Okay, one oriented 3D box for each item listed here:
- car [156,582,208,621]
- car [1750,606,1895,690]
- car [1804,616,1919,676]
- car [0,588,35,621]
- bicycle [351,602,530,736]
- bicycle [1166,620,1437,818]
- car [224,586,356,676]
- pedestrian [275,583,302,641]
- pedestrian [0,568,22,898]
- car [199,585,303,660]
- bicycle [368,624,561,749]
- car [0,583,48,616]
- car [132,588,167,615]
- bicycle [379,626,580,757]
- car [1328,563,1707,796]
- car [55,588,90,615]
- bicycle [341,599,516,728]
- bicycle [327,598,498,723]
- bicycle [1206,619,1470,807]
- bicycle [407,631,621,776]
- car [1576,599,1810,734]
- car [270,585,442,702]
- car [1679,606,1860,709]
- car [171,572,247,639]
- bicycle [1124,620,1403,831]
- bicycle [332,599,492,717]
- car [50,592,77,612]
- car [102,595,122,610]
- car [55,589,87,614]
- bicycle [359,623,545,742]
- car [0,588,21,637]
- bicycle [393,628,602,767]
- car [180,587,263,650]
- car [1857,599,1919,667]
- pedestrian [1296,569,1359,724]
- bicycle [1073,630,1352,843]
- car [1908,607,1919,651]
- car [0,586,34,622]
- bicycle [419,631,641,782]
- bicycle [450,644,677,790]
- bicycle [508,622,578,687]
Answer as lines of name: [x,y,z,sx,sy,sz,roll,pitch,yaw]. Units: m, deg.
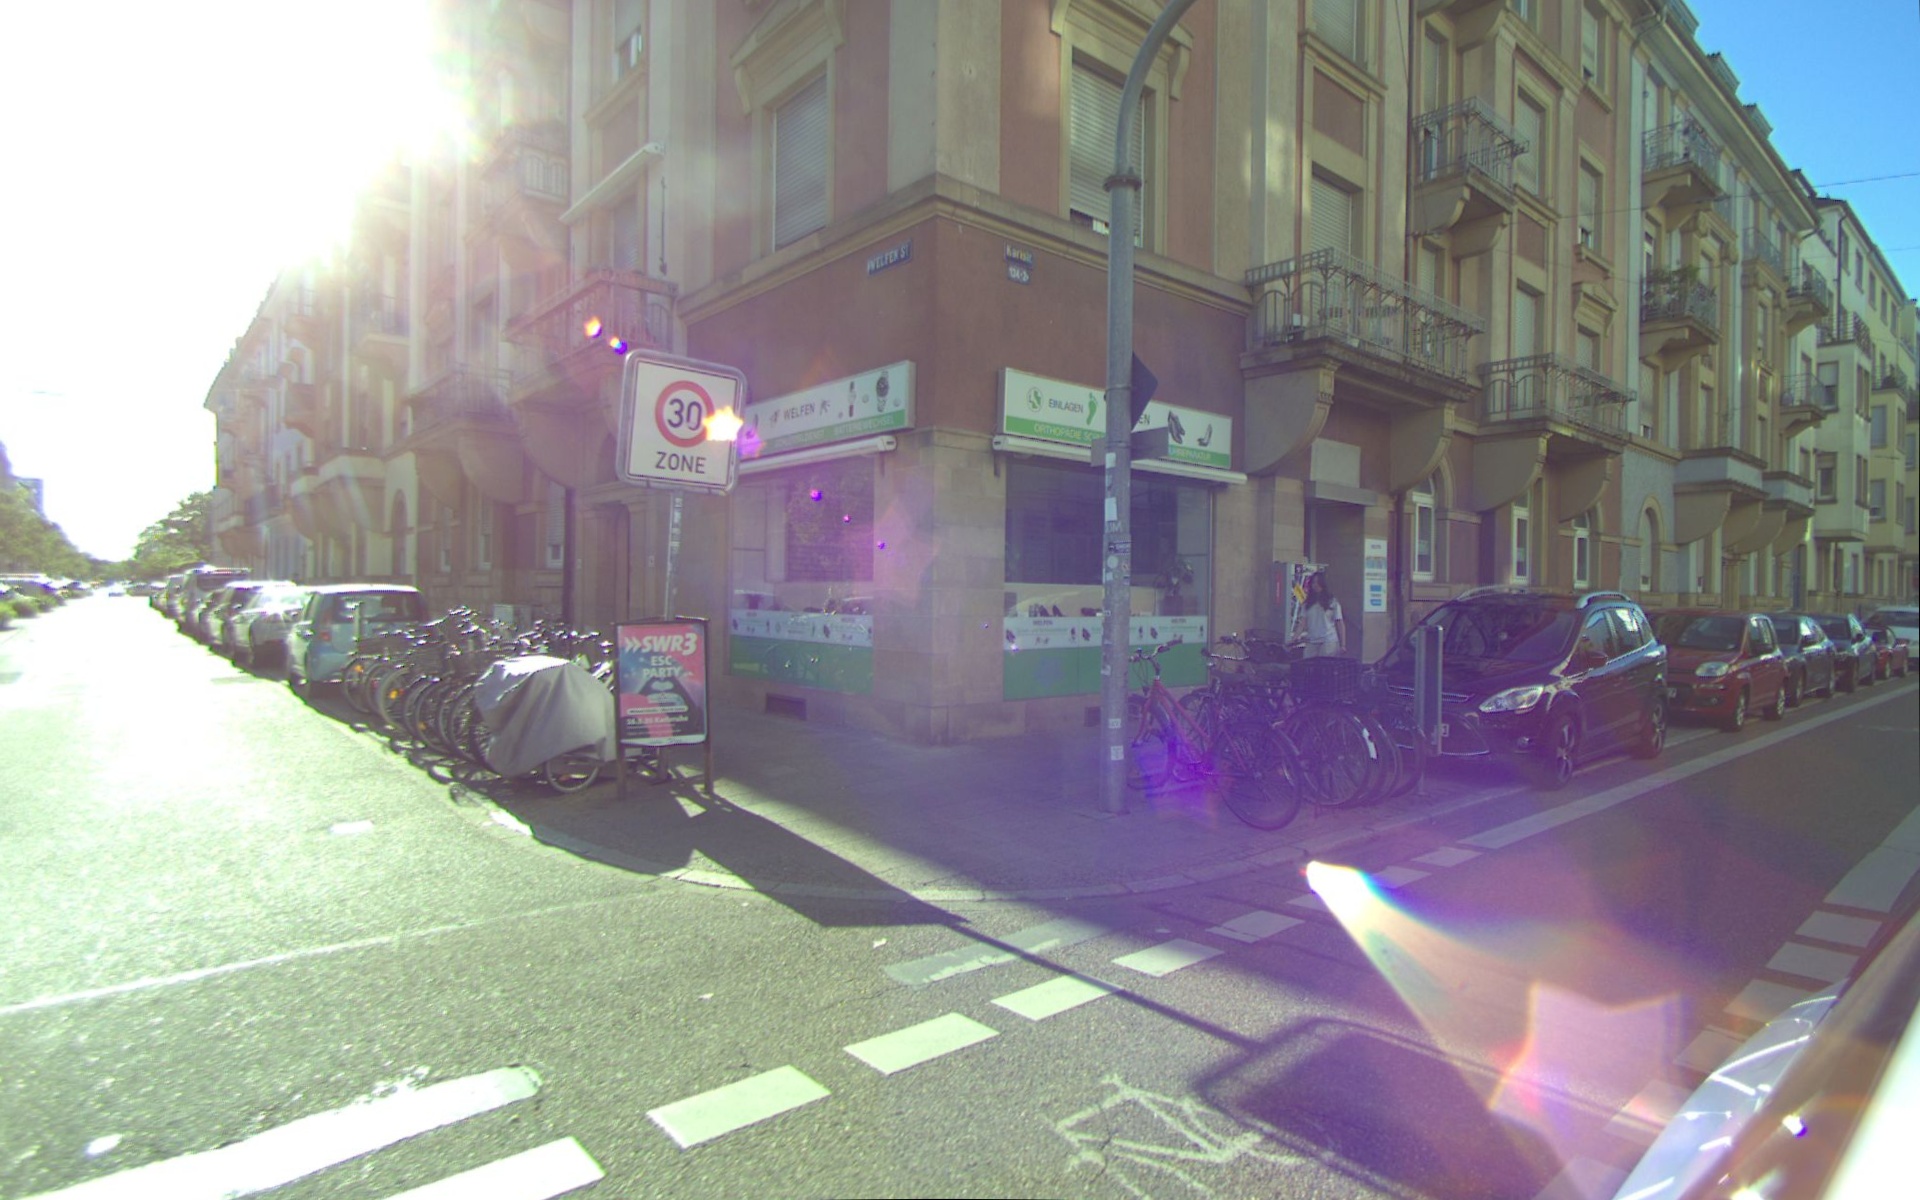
car: [-38.417,0.063,49.934,1.781,1.849,3.994,1,0,-41]
car: [17.495,0.886,20.455,4.397,1.502,1.657,1,0,-42]
car: [21.622,1.026,23.970,4.422,1.265,1.658,1,0,-38]
car: [-47.360,0.201,48.656,1.750,1.624,3.951,0,0,34]
bicycle: [-5.774,0.727,11.312,1.698,1.400,0.491,1,-1,-41]
bicycle: [2.521,0.815,7.709,0.517,1.242,1.963,1,1,-39]
car: [-13.225,0.537,19.885,1.666,1.571,4.064,1,0,-41]
pedestrian: [-21.466,0.372,32.338,0.598,1.820,0.730,1,-1,-41]
pedestrian: [-5.095,0.670,4.850,0.689,1.654,0.732,-1,-1,-27]
car: [-17.155,0.496,24.423,1.666,1.653,3.994,1,0,-41]
bicycle: [-5.073,0.845,10.428,1.698,1.169,0.544,1,-1,-41]
car: [-54.693,-0.031,57.473,1.746,1.870,3.960,0,0,28]
car: [-56.750,0.119,70.815,1.781,1.849,3.994,1,0,-41]
bicycle: [-4.709,0.855,9.989,1.698,1.169,0.544,1,-1,-41]
car: [5.646,0.613,10.001,4.426,1.757,1.757,1,3,-40]
car: [-62.895,0.098,71.768,1.781,1.849,3.994,1,0,-41]
bicycle: [-6.137,0.696,11.745,1.698,1.400,0.544,1,-1,-41]
bicycle: [-6.564,0.690,12.182,1.698,1.400,0.628,1,-1,-41]
bicycle: [2.942,0.816,8.082,0.517,1.242,1.963,1,1,-39]
bicycle: [-3.992,0.882,9.145,1.698,1.169,0.468,1,-1,-41]
car: [10.175,0.807,13.971,3.662,1.614,1.757,1,0,-39]
car: [-9.018,0.556,15.006,1.612,1.515,3.498,1,0,-41]
car: [13.940,0.879,17.330,4.395,1.532,1.657,1,0,-41]
car: [-25.603,0.154,34.477,1.781,2.146,3.994,1,0,-41]
bicycle: [2.117,0.814,7.334,0.517,1.242,1.963,1,1,-39]
bicycle: [-6.903,0.692,12.801,1.698,1.400,0.544,1,-1,-41]
car: [-85.057,0.173,96.029,1.781,1.849,3.994,1,0,-41]
car: [-102.282,0.284,122.032,1.781,1.849,3.994,1,0,-41]
car: [-67.954,0.130,77.393,1.781,1.849,3.994,1,0,-41]
bicycle: [-5.430,0.842,10.889,1.698,1.169,0.544,1,-1,-41]
car: [-33.637,0.407,33.137,1.750,1.624,3.951,0,0,34]
bicycle: [-4.333,0.868,9.558,1.698,1.169,0.544,1,-1,-41]
car: [-21.152,0.481,28.927,1.590,1.653,3.994,1,0,-41]
car: [25.890,0.862,27.393,4.425,1.712,1.846,1,0,-41]
pedestrian: [4.176,0.510,11.507,0.440,1.708,0.514,1,-1,-41]
bicycle: [1.663,0.845,6.989,0.517,1.175,1.927,1,1,-39]
car: [34.184,0.990,35.046,3.964,1.460,1.739,1,0,-43]
car: [-45.312,0.170,46.400,1.750,1.624,3.951,1,0,34]
bicycle: [-3.677,0.866,8.759,1.698,1.169,0.468,1,-1,-41]
bicycle: [-3.263,0.923,8.444,1.698,1.062,0.468,1,-1,-41]
bicycle: [-6.433,0.813,15.576,0.481,0.890,1.726,1,0,-40]
